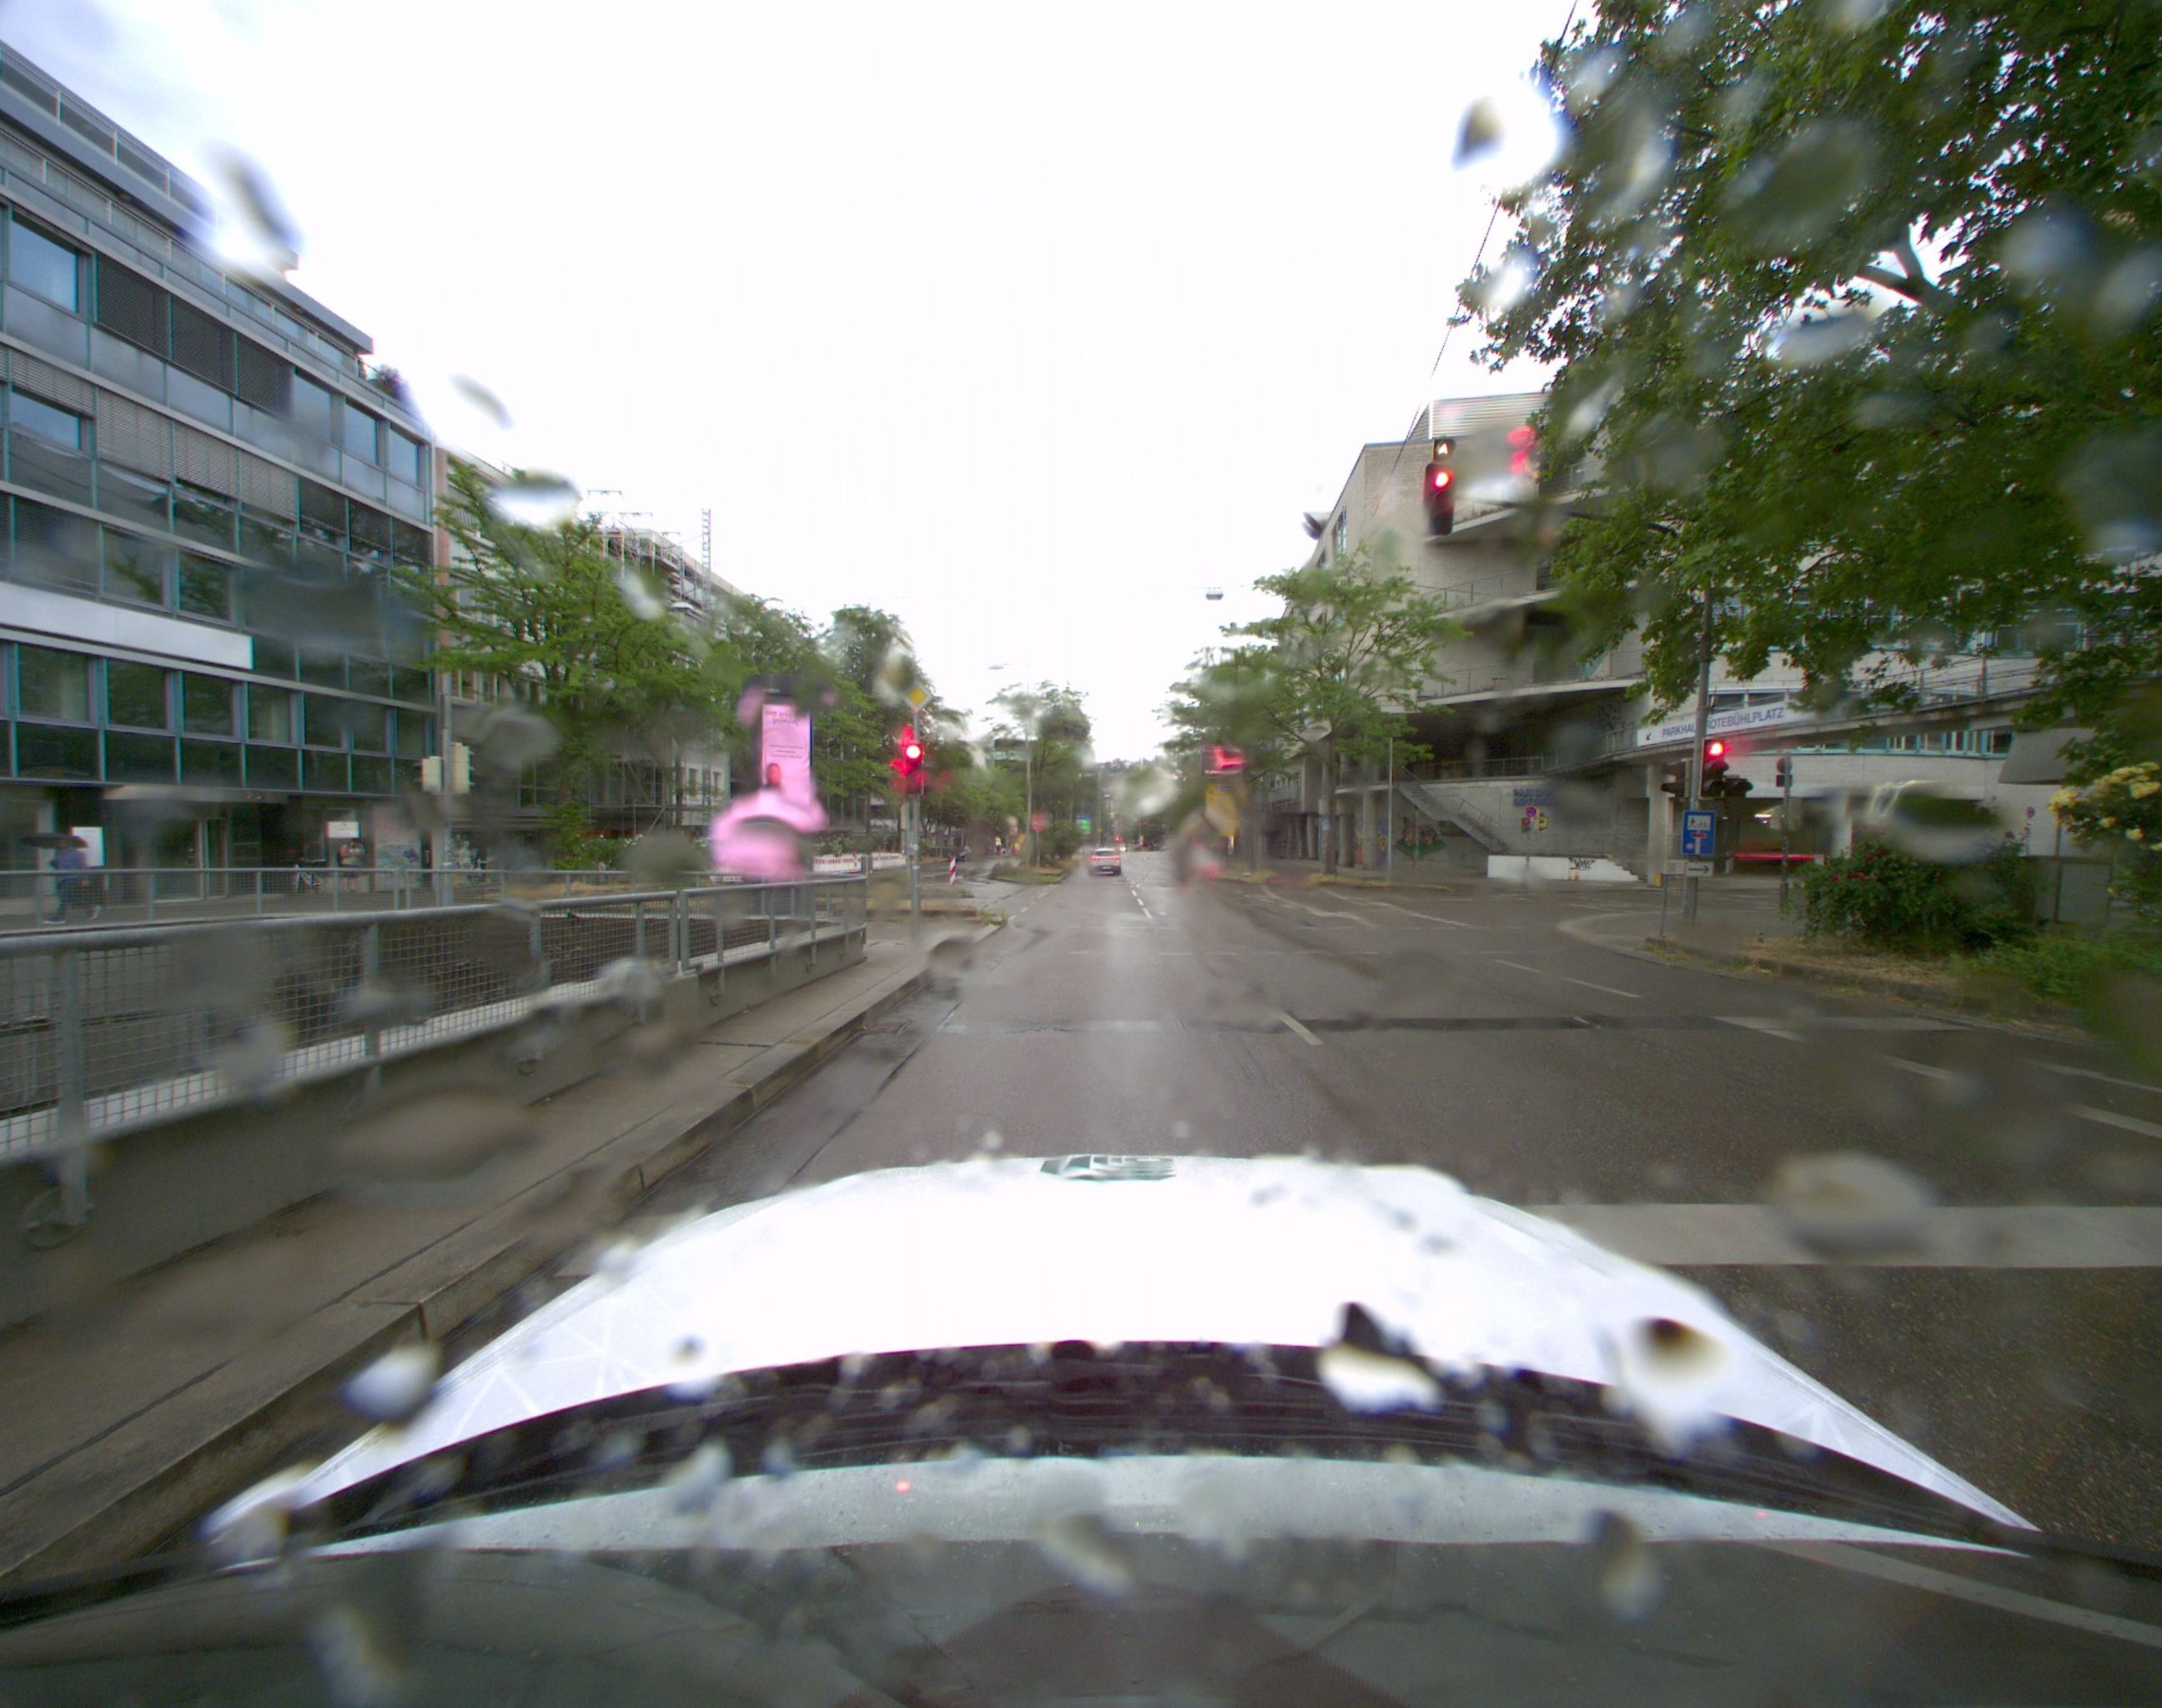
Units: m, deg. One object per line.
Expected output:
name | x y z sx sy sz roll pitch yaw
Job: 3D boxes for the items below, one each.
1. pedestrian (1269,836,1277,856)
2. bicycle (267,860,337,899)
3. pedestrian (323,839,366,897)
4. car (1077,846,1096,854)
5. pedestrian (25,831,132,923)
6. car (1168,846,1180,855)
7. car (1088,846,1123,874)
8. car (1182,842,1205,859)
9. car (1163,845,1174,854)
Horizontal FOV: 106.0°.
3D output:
pedestrian | 18.201 -0.760 77.257 0.770 1.920 0.705 -1 -1 11
bicycle | -22.958 0.747 24.032 0.444 1.085 1.567 0 0 6
pedestrian | -22.811 0.427 25.233 0.694 1.741 0.694 1 0 -4
car | 1.191 -0.989 186.389 3.998 1.758 1.988 1 0 -19
pedestrian | -20.784 0.453 16.907 0.854 1.838 1.060 1 0 2
car | 17.608 -0.670 154.278 1.986 1.723 4.001 0 -1 1
car | 1.442 0.342 50.000 1.824 1.640 4.296 1 0 -2
car | 11.535 -0.357 83.338 2.324 1.691 4.010 0 0 9
car | 17.862 -0.840 166.637 1.986 1.736 4.001 0 -1 2
